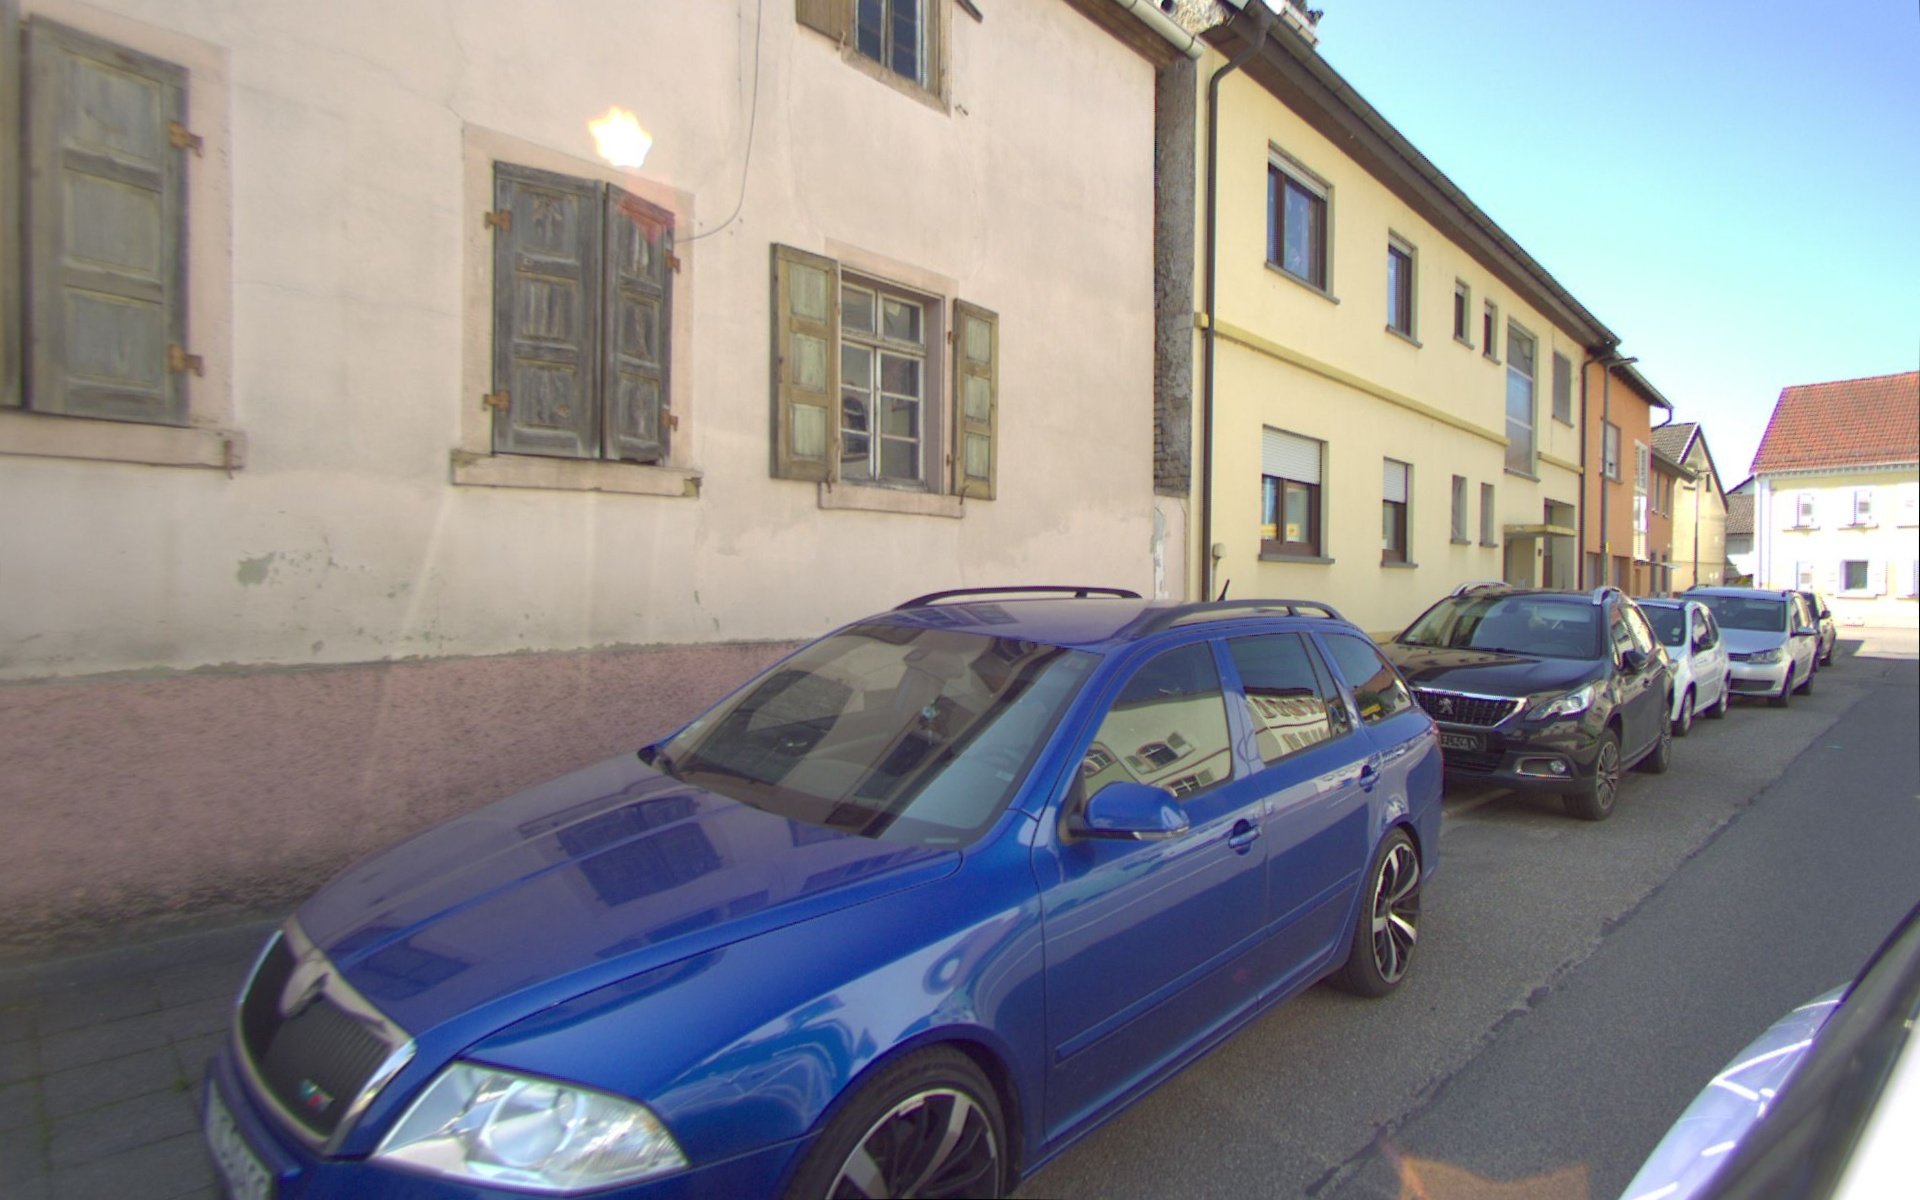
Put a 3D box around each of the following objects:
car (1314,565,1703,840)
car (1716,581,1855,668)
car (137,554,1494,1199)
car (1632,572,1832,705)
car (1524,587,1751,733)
[{"bbox_3d":[4.497,0.571,8.007,1.699,1.603,3.964,3,2,44],"label":"car"},{"bbox_3d":[18.648,0.462,22.769,5.095,1.724,1.846,0,2,-44],"label":"car"},{"bbox_3d":[0.183,0.649,3.347,1.699,1.487,4.341,3,2,43],"label":"car"},{"bbox_3d":[11.906,0.490,15.509,4.179,1.750,1.899,-1,1,-45],"label":"car"},{"bbox_3d":[8.224,0.590,12.164,3.660,1.456,1.552,-1,2,-45],"label":"car"}]
